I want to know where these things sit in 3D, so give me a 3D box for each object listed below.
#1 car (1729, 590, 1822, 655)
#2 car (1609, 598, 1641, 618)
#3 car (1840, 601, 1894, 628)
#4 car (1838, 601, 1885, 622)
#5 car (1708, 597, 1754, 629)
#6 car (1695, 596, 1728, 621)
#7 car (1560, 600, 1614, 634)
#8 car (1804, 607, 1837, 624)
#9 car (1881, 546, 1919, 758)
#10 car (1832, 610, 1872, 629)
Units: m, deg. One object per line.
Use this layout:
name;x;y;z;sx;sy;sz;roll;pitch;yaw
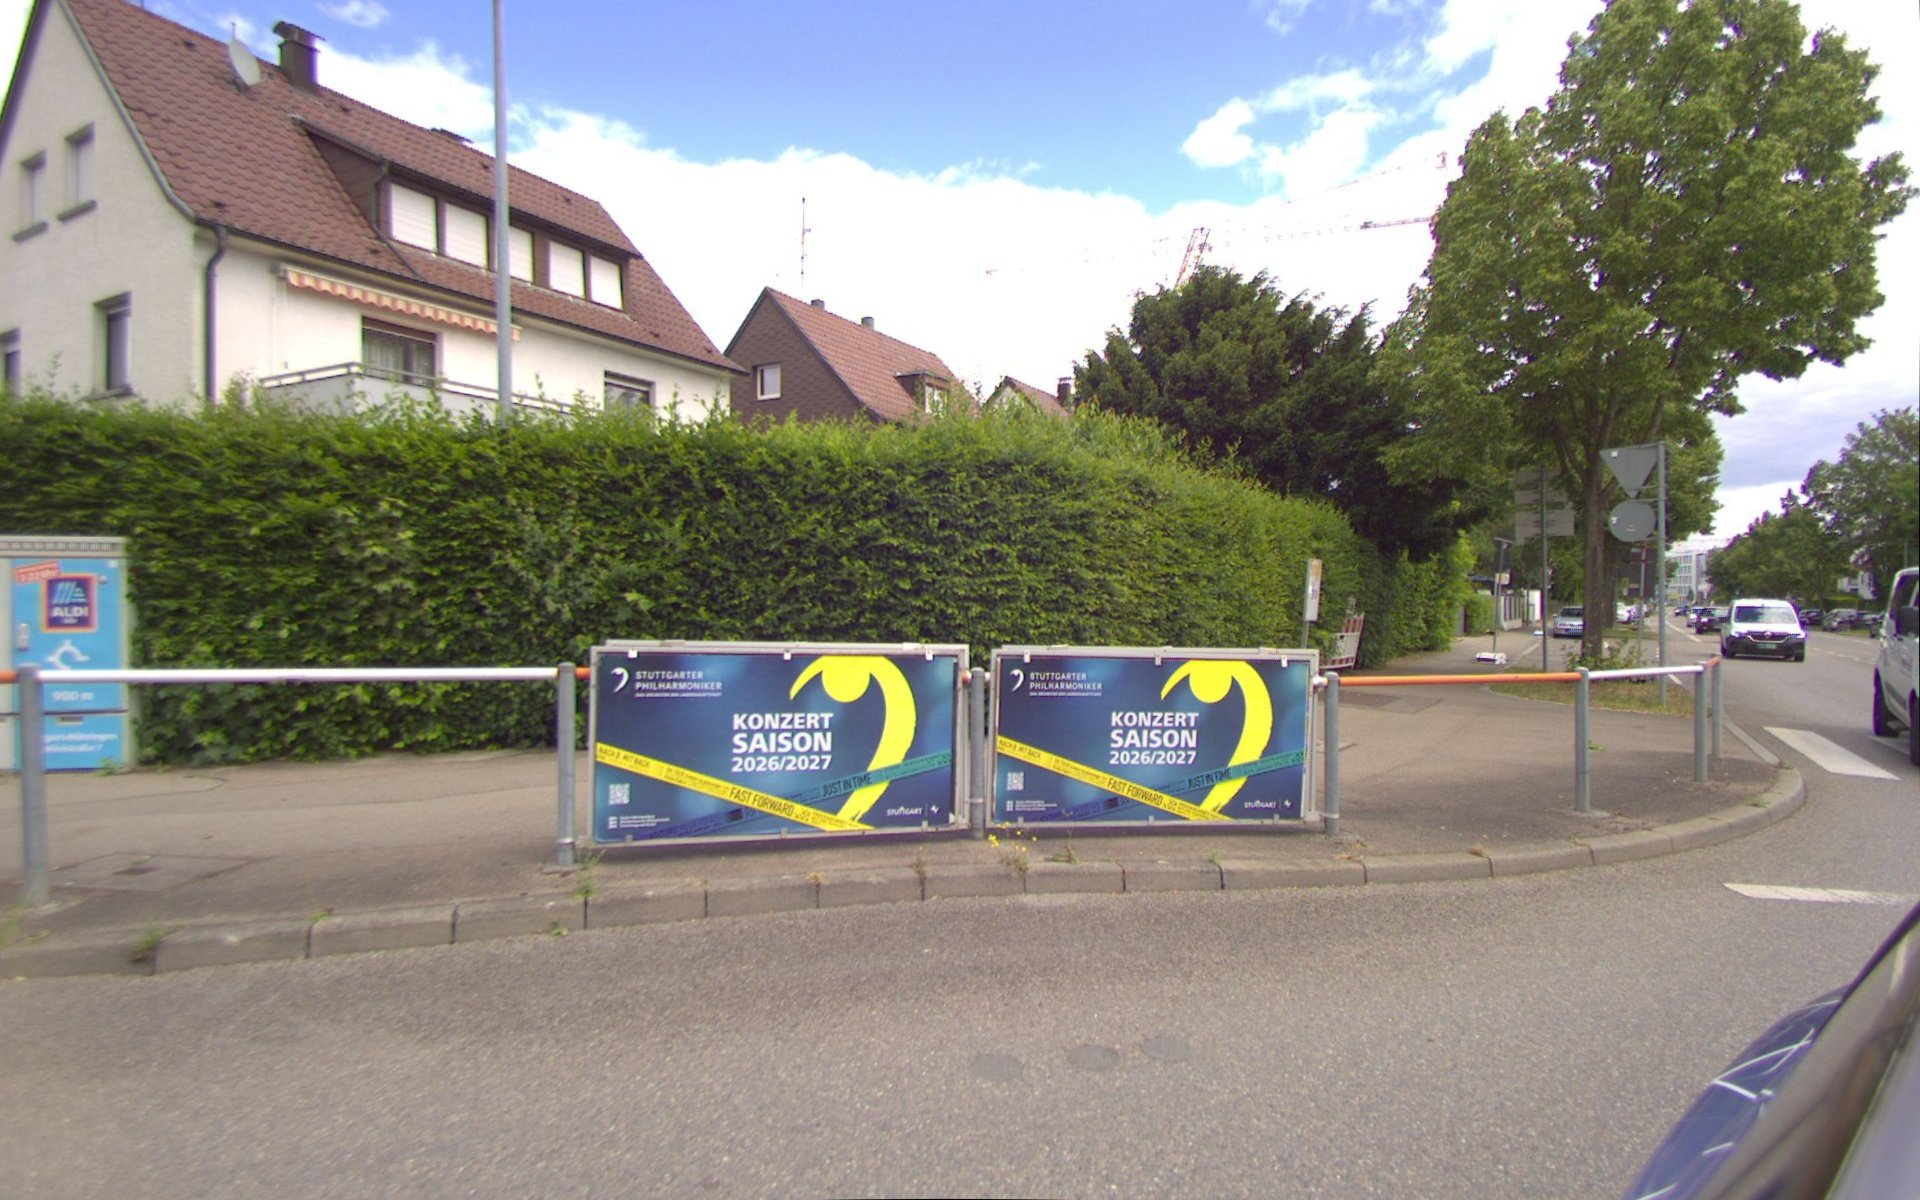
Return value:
car;24.377;0.616;30.382;1.916;1.776;3.949;1;1;35
car;48.868;0.559;74.340;1.800;1.359;3.950;1;1;35
car;54.165;0.829;60.497;1.597;1.553;3.707;1;1;30
car;56.743;0.726;63.716;1.592;1.242;3.160;1;1;31
car;42.355;0.671;55.657;1.815;1.689;3.949;1;1;35
car;54.174;0.571;73.015;1.815;1.689;3.949;1;1;35
car;27.681;0.713;44.617;1.800;1.359;3.950;1;1;35
car;67.616;1.222;79.560;1.487;1.242;3.158;1;1;32
car;10.902;0.515;10.233;1.990;2.039;4.979;1;1;38
car;60.177;1.281;68.322;1.487;1.181;3.158;1;1;32
